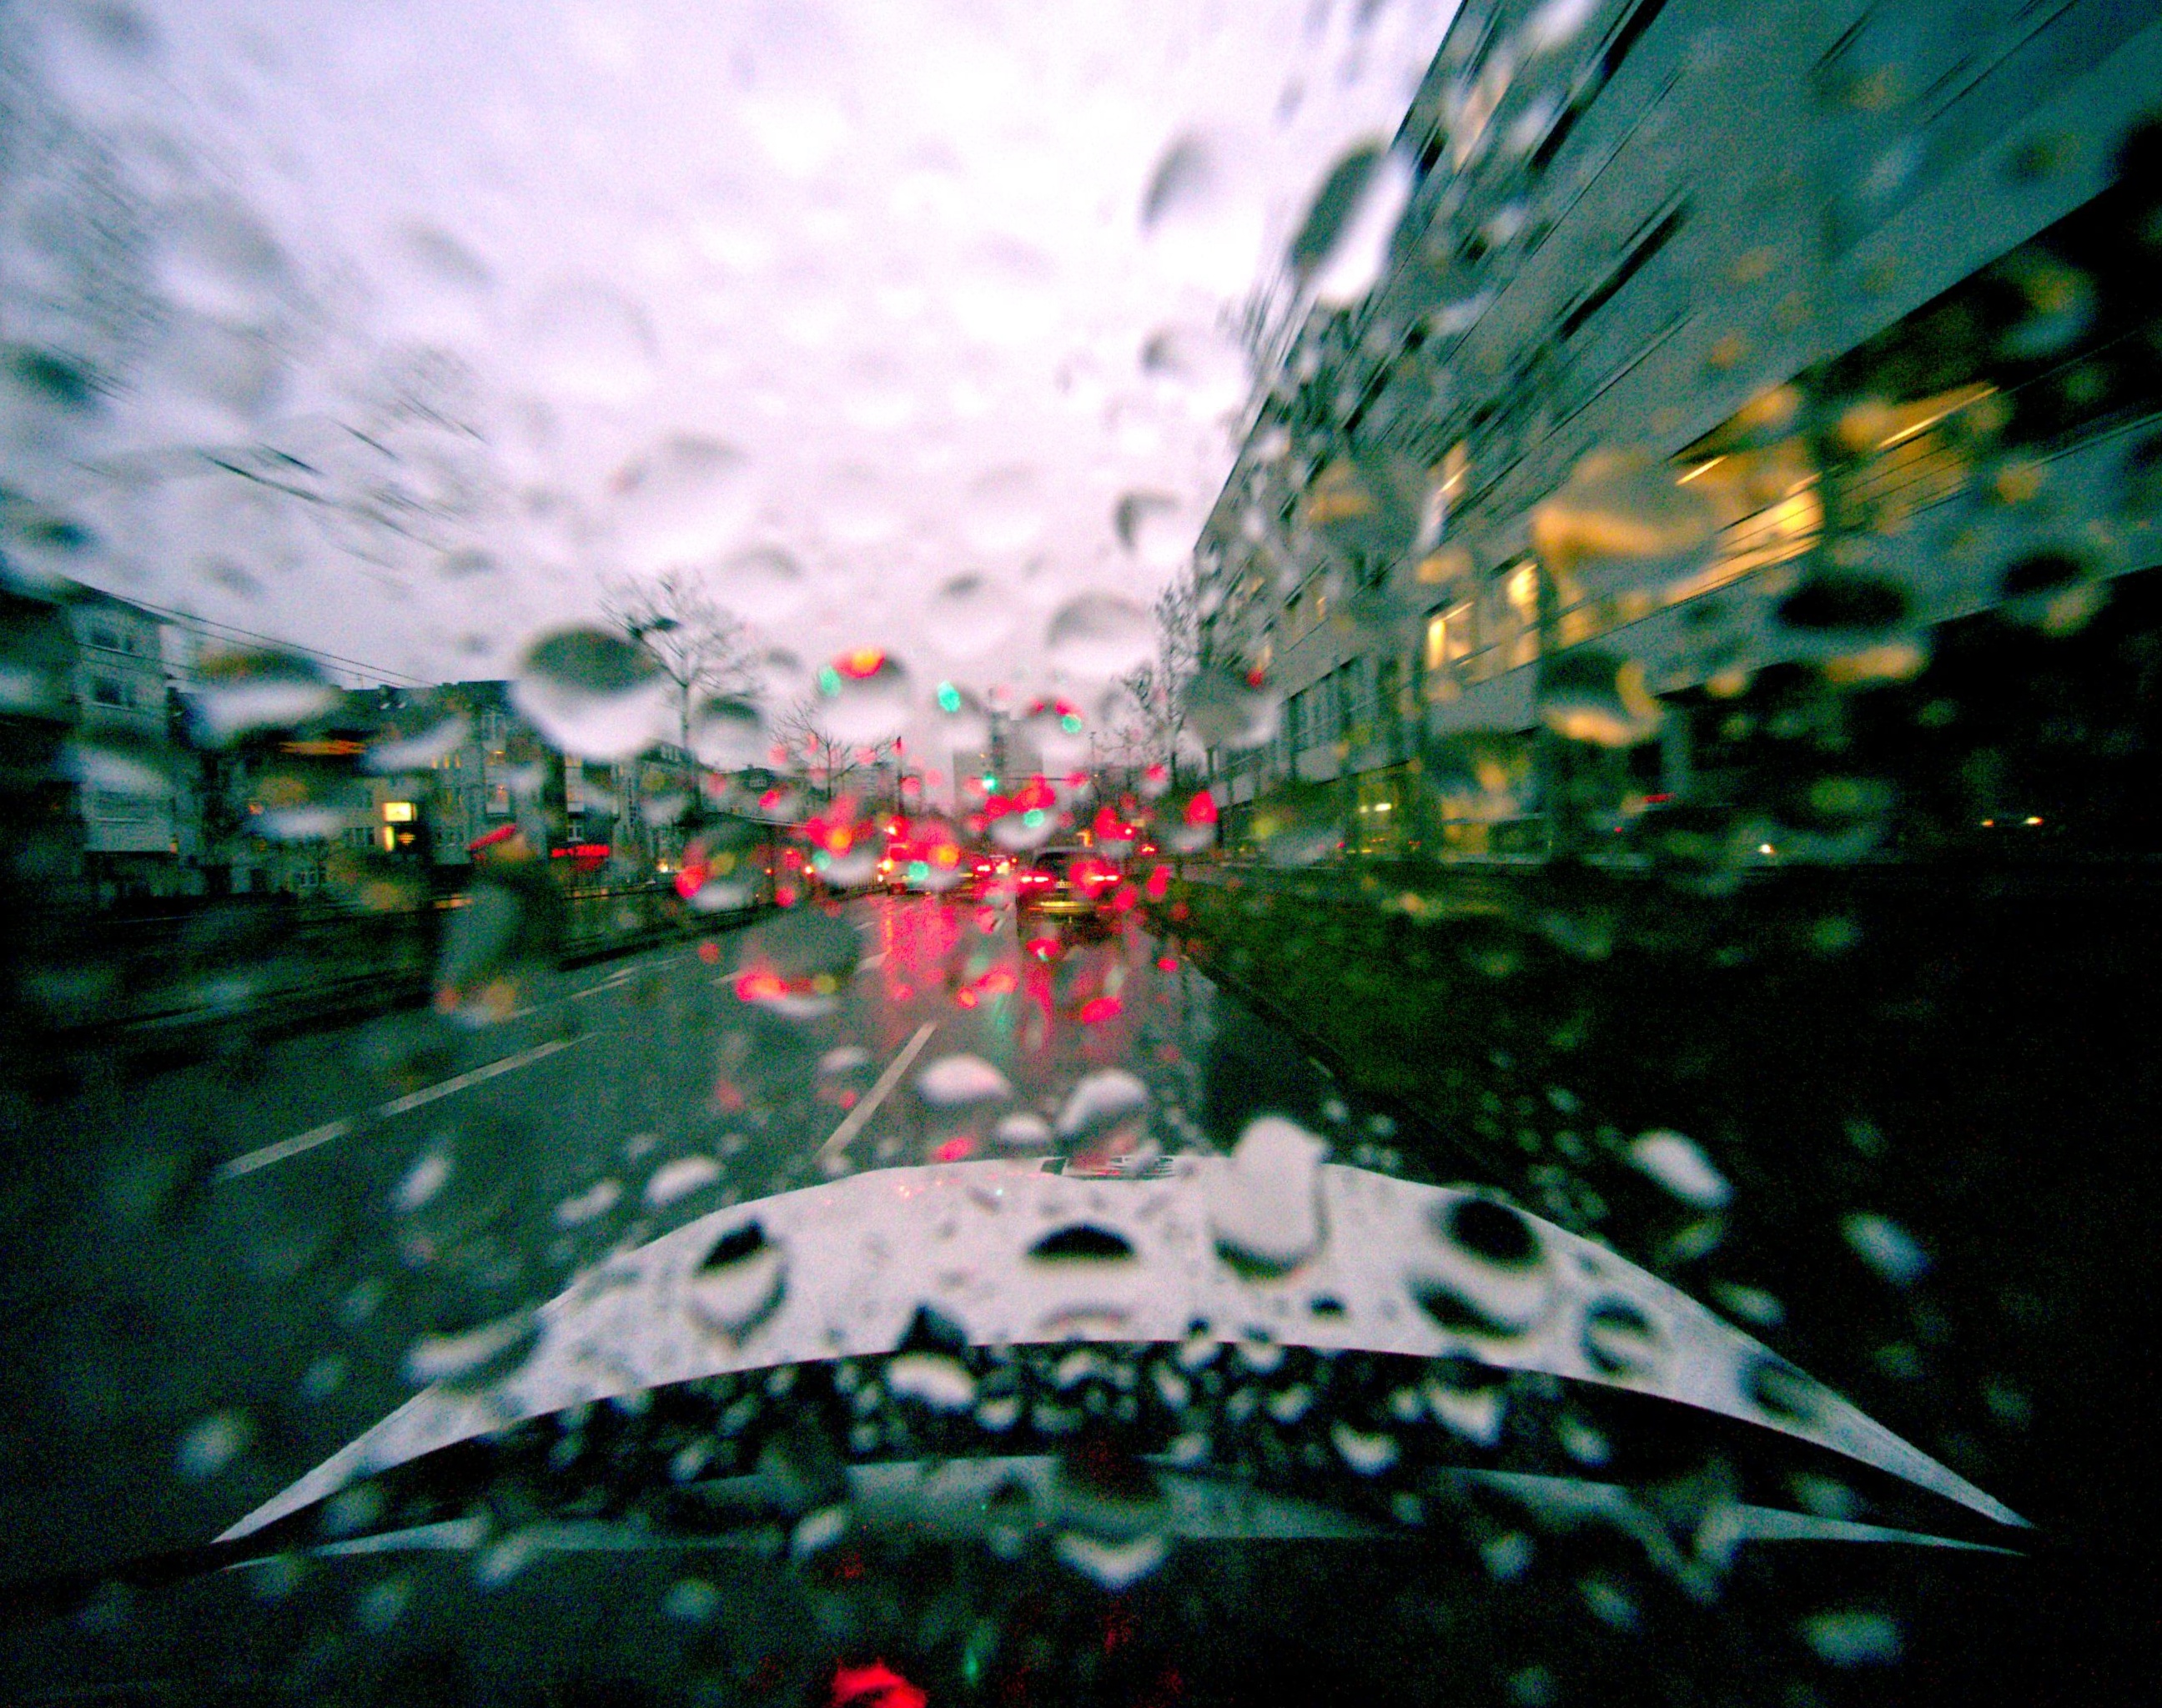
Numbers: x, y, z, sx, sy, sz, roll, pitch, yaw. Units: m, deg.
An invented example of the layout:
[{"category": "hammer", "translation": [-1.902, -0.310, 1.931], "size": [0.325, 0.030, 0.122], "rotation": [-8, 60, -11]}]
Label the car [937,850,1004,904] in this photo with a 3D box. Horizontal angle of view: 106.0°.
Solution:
[{"category": "car", "translation": [-3.787, 0.771, 28.553], "size": [1.989, 1.712, 4.318], "rotation": [-1, -1, -4]}]

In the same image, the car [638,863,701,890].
[{"category": "car", "translation": [-24.146, 1.282, 47.970], "size": [1.753, 1.497, 3.759], "rotation": [-1, -1, 1]}]

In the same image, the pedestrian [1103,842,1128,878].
[{"category": "pedestrian", "translation": [1.781, 0.294, 41.896], "size": [0.788, 1.750, 0.867], "rotation": [-6, 0, 24]}]

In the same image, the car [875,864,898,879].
[{"category": "car", "translation": [-21.304, 1.921, 89.435], "size": [1.801, 1.606, 3.994], "rotation": [-1, -1, -4]}]

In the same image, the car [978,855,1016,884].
[{"category": "car", "translation": [-5.084, 0.934, 49.727], "size": [1.989, 1.642, 4.018], "rotation": [-1, -1, -3]}]

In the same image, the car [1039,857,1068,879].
[{"category": "car", "translation": [-1.912, 0.923, 56.210], "size": [1.882, 1.353, 4.097], "rotation": [-1, 0, -3]}]

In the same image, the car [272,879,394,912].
[{"category": "car", "translation": [-34.162, 1.889, 37.276], "size": [3.795, 1.366, 1.694], "rotation": [-1, -1, -8]}]

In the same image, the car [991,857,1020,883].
[{"category": "car", "translation": [-6.039, 1.307, 65.619], "size": [1.987, 2.014, 3.999], "rotation": [-1, -1, 0]}]

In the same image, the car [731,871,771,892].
[{"category": "car", "translation": [-27.670, 2.301, 68.378], "size": [1.671, 1.613, 3.341], "rotation": [-1, -1, 5]}]

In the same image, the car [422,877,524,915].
[{"category": "car", "translation": [-26.978, 1.825, 36.290], "size": [1.754, 1.497, 3.756], "rotation": [-1, -1, -1]}]

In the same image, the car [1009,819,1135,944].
[{"category": "car", "translation": [-0.322, 0.475, 15.259], "size": [1.991, 1.976, 4.060], "rotation": [-1, -1, -6]}]

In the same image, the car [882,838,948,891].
[{"category": "car", "translation": [-7.013, 0.419, 34.905], "size": [1.947, 2.033, 4.878], "rotation": [-2, 0, -2]}]
